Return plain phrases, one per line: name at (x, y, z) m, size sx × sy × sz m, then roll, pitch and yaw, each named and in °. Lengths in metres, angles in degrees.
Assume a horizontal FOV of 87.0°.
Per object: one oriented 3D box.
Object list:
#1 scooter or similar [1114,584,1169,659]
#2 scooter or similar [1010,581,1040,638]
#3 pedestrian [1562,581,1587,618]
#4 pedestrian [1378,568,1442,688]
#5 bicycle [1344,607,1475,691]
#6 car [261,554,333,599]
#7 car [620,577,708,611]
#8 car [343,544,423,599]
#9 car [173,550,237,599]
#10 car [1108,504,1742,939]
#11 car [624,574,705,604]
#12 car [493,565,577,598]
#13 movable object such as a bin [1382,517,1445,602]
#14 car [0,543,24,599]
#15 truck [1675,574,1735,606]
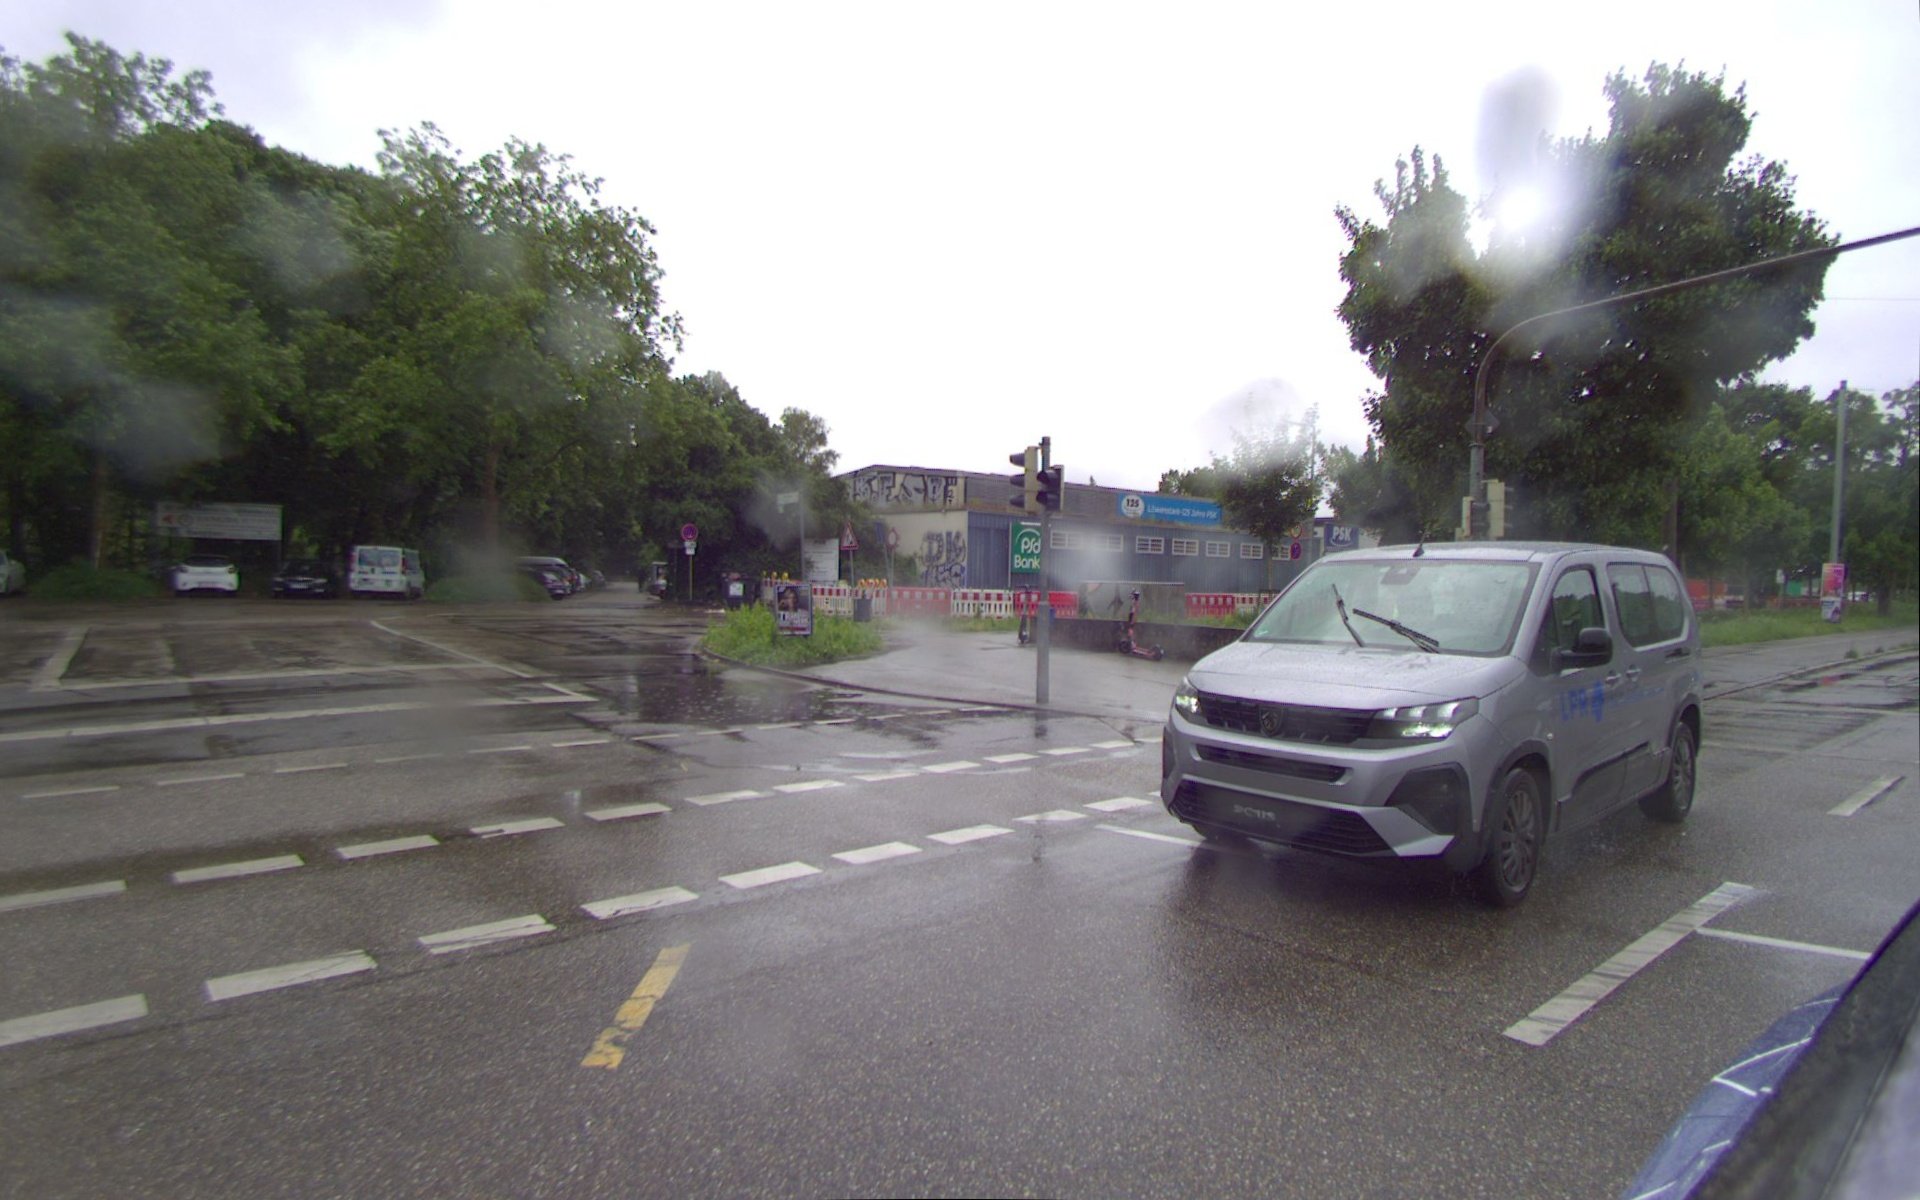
scooter or similar at (3.255, 0.374, 18.198) m, size 0.316 × 1.244 × 0.961 m, roll 1°, pitch 4°, yaw -35°
scooter or similar at (1.381, 0.194, 21.573) m, size 0.549 × 1.191 × 0.286 m, roll 1°, pitch 1°, yaw -34°
pedestrian at (33.010, -0.030, 54.360) m, size 1.191 × 1.960 × 0.814 m, roll -1°, pitch 0°, yaw -41°
pedestrian at (6.810, 0.401, 15.342) m, size 0.660 × 1.698 × 0.785 m, roll 4°, pitch 4°, yaw 17°
bicycle at (6.782, 0.721, 15.363) m, size 1.642 × 1.050 × 0.785 m, roll 5°, pitch 4°, yaw 17°
car at (-24.014, -0.809, 36.592) m, size 1.890 × 1.507 × 4.192 m, roll -1°, pitch 1°, yaw -37°
car at (-13.908, -0.296, 47.721) m, size 3.916 × 1.529 × 1.706 m, roll -1°, pitch 0°, yaw -14°
car at (-21.982, -1.061, 38.727) m, size 1.885 × 1.989 × 4.204 m, roll -1°, pitch 0°, yaw -19°
car at (-26.158, -0.849, 35.063) m, size 1.689 × 1.617 × 3.667 m, roll -1°, pitch 0°, yaw -37°
car at (3.180, 0.479, 6.452) m, size 4.482 × 1.818 × 1.997 m, roll -1°, pitch 1°, yaw -40°
car at (-15.215, -0.571, 52.295) m, size 3.916 × 1.529 × 1.706 m, roll -1°, pitch 0°, yaw -14°
car at (-22.524, -0.962, 53.635) m, size 3.920 × 1.672 × 1.704 m, roll -1°, pitch 0°, yaw -30°
movable object such as a bin at (24.764, -2.185, 55.227) m, size 3.838 × 4.482 × 1.557 m, roll -1°, pitch 0°, yaw -39°
car at (-30.060, -0.849, 30.936) m, size 1.892 × 1.651 × 4.595 m, roll -1°, pitch 1°, yaw -40°
truck at (70.794, -1.000, 96.101) m, size 8.597 × 2.935 × 2.809 m, roll -1°, pitch 0°, yaw -41°
